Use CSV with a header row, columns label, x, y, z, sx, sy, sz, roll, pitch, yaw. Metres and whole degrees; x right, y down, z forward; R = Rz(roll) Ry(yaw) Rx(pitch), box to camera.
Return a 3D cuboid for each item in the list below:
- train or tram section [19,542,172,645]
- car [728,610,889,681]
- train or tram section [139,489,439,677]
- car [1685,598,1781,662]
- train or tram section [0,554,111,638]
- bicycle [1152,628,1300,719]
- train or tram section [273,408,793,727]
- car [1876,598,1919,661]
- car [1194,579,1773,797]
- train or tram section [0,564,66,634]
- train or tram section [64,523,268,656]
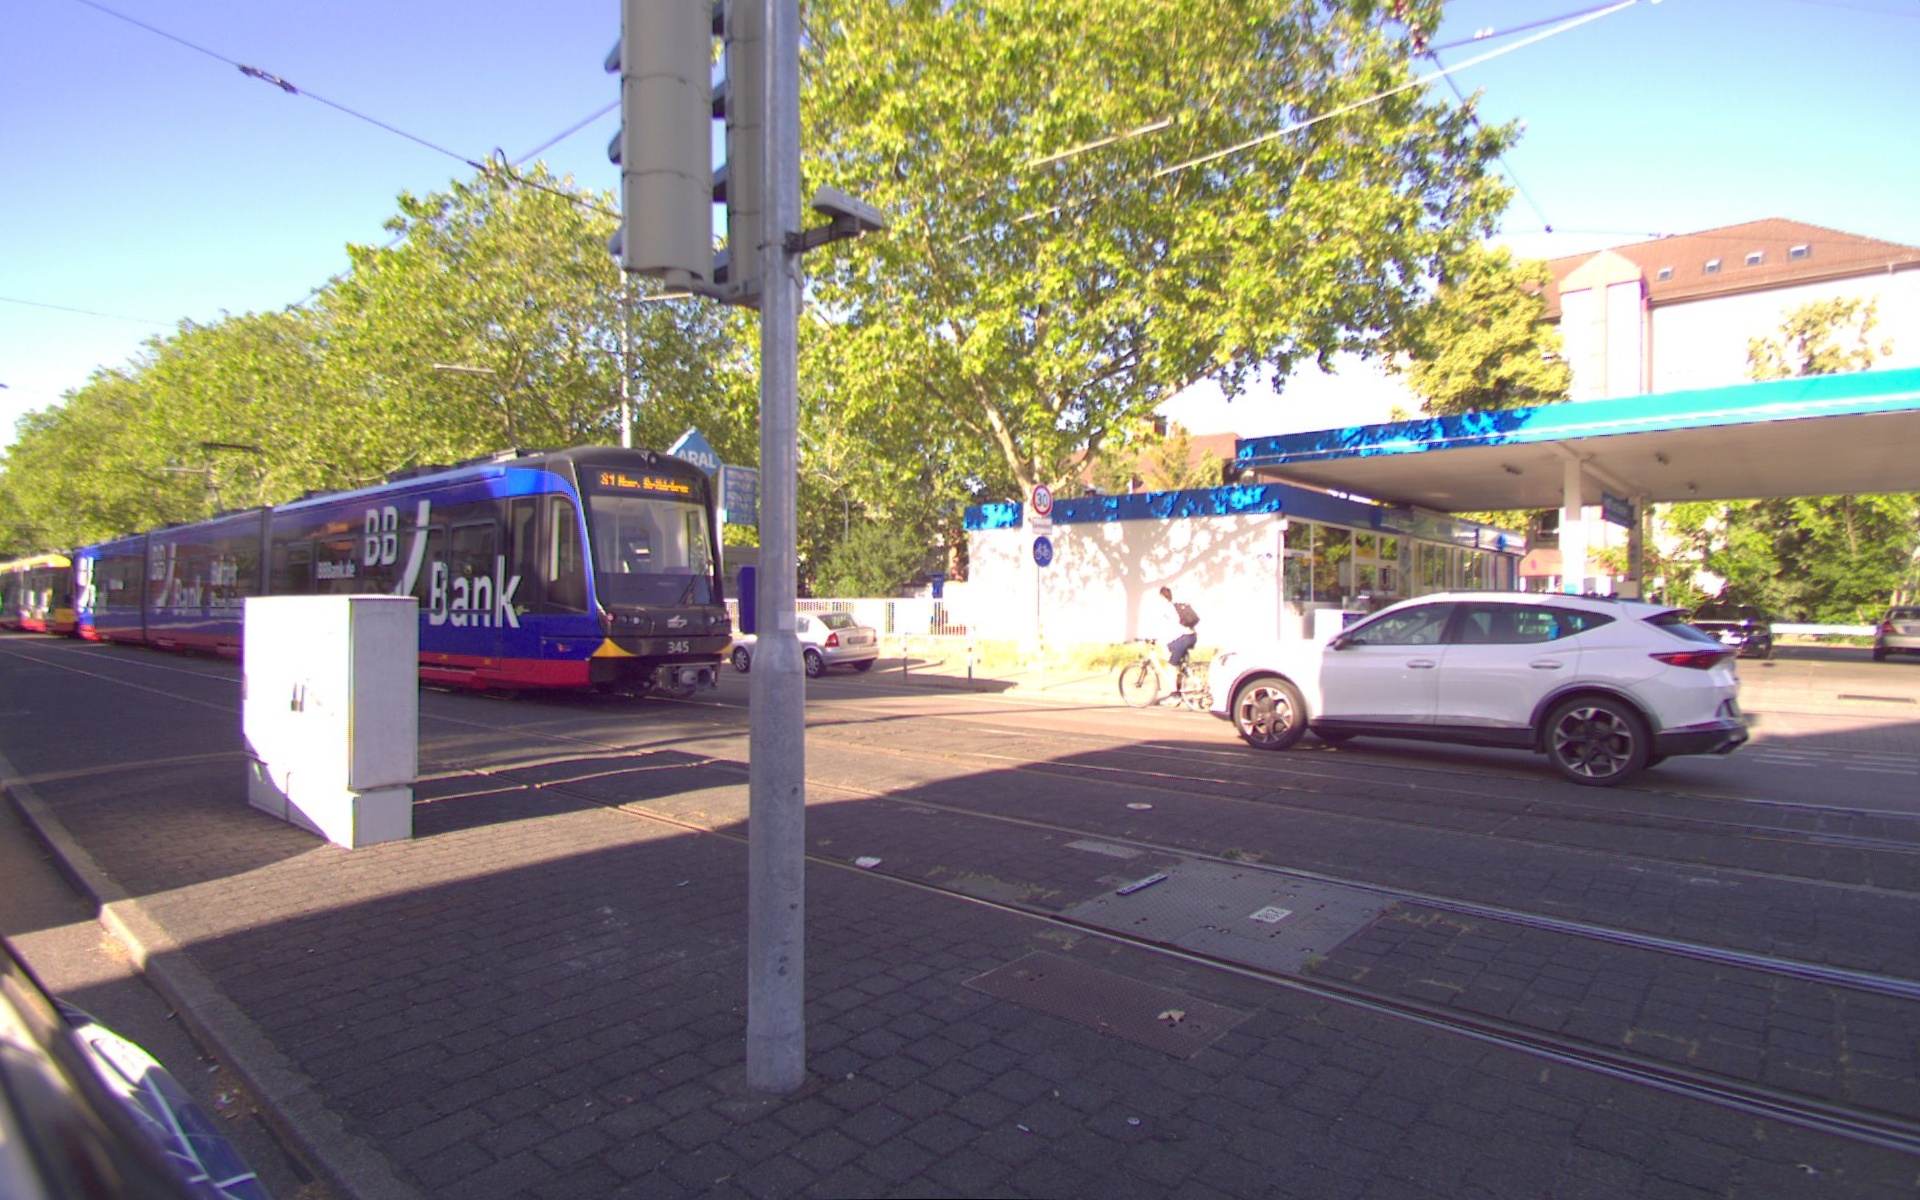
label,x,y,z,sx,sy,sz,roll,pitch,yaw
train or tram section,-35.257,-0.192,41.019,12.110,3.640,3.023,0,-1,42
car,-3.547,0.992,23.430,3.535,1.435,1.757,-1,2,40
train or tram section,-16.947,-0.286,24.884,12.497,3.640,3.023,0,-1,42
car,19.613,0.725,25.624,1.716,1.497,4.162,0,-1,40
train or tram section,-44.259,-0.134,48.963,11.944,3.640,3.023,0,-1,41
bicycle,3.752,1.009,14.410,2.055,1.175,0.480,0,-1,41
train or tram section,-7.783,-0.325,16.706,12.111,3.640,3.023,0,-1,42
car,24.212,0.712,25.366,1.716,1.497,4.162,0,-1,40
car,4.554,0.631,9.216,4.347,1.508,1.972,0,-1,42
train or tram section,-53.551,-0.006,57.134,12.884,3.640,3.023,0,-1,42
train or tram section,-26.176,-0.243,32.993,12.109,3.640,3.023,0,-1,41
